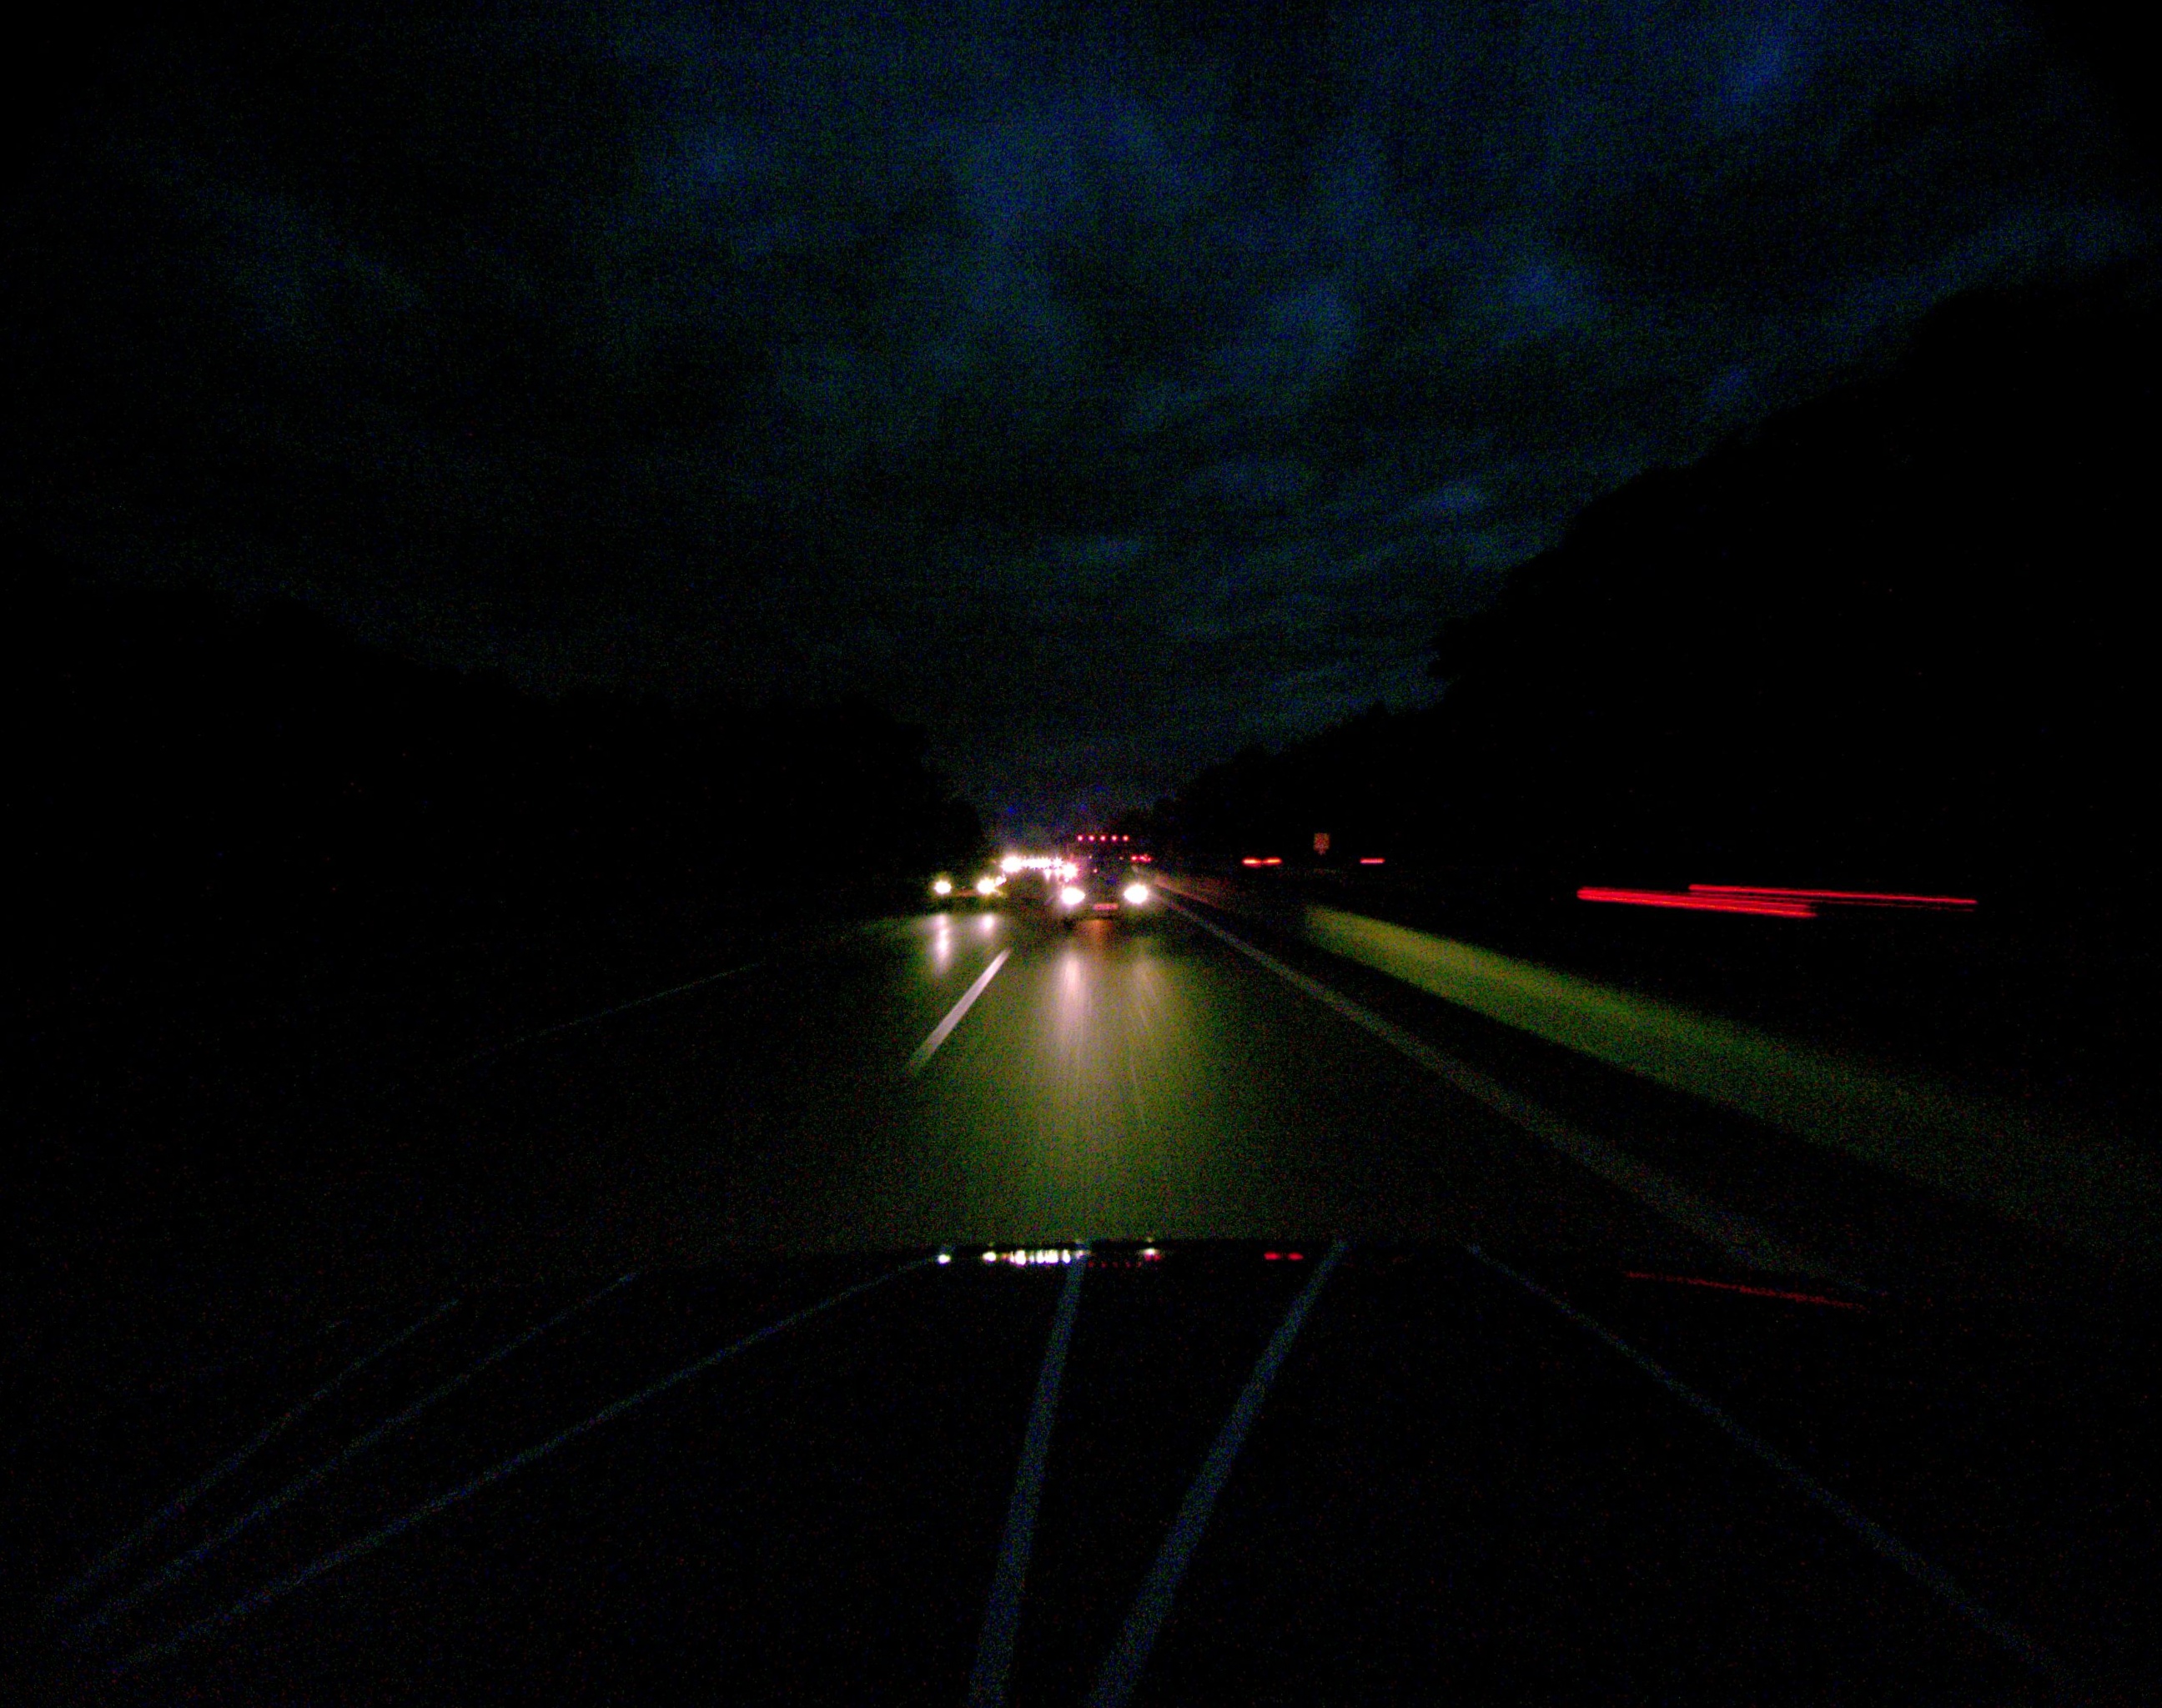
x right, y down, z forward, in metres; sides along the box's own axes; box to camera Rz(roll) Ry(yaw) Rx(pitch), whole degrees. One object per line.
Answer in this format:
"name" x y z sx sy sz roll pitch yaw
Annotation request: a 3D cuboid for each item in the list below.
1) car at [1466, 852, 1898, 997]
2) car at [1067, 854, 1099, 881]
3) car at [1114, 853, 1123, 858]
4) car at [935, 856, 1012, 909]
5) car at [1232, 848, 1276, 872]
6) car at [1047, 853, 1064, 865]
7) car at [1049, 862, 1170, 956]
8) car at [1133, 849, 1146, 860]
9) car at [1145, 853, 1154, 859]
"car" 7.261 0.704 10.019 1.998 1.393 4.687 -2 0 1
"car" 0.188 0.803 46.400 1.813 1.458 5.131 -1 1 2
"car" 10.690 0.432 216.247 1.848 1.454 4.773 -3 0 -7
"car" -3.552 0.893 26.060 1.914 1.528 5.230 -1 1 -1
"car" 11.350 0.359 50.186 1.759 1.421 5.362 -2 0 1
"car" -3.437 0.729 102.192 1.999 1.539 3.999 -1 -1 -5
"car" 0.510 0.894 14.228 1.879 1.435 4.451 -1 0 1
"car" 9.574 0.098 124.917 1.998 1.629 5.111 -2 0 2
"car" 18.613 0.581 205.166 1.847 1.454 3.999 -3 0 -2
